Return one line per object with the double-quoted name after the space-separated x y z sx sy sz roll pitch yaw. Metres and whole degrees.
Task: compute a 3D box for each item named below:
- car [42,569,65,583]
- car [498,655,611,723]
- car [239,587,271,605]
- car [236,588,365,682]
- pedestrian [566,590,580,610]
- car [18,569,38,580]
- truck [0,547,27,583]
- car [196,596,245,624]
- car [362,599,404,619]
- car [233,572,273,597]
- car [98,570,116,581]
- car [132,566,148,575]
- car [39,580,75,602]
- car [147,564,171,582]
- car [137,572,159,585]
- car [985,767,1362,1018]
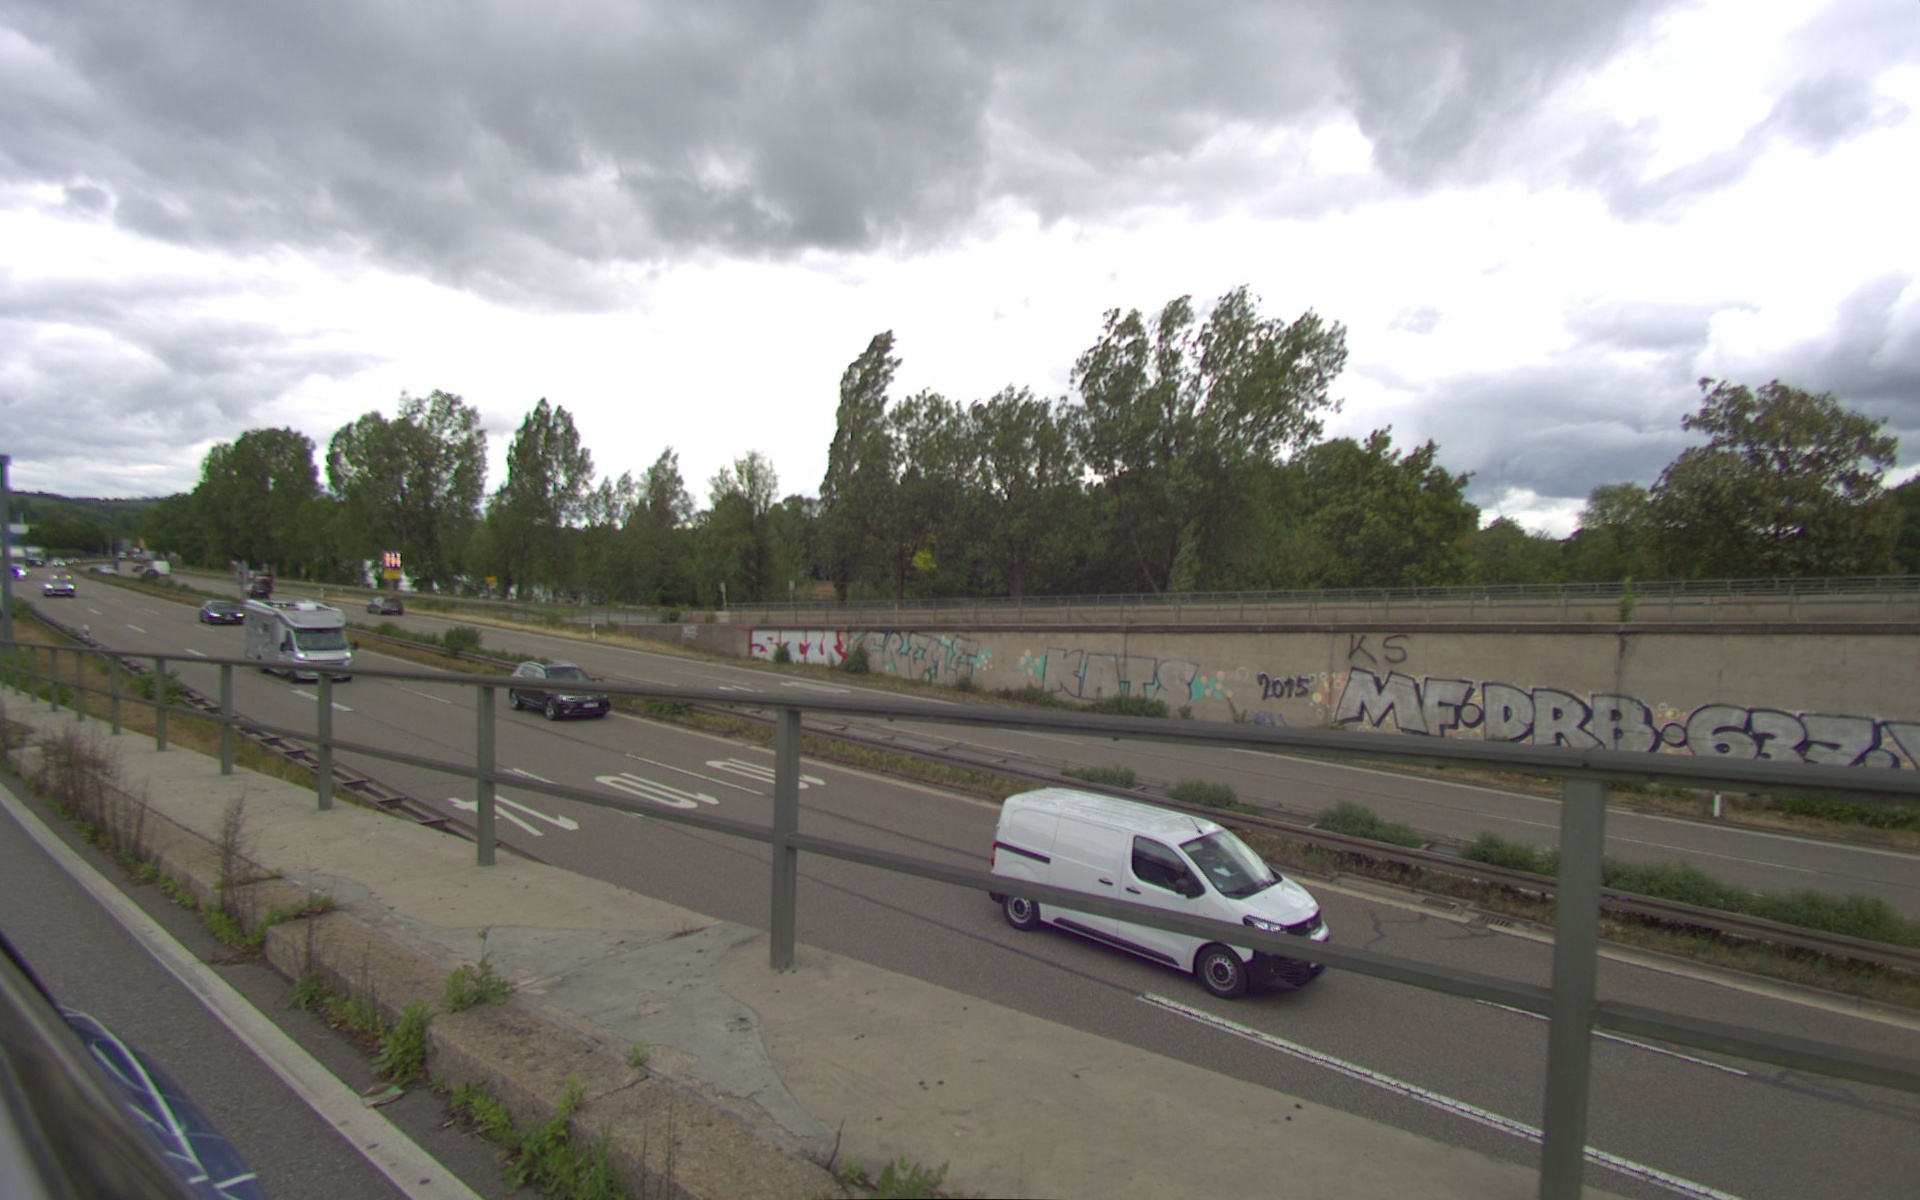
-110.499 -2.924 123.352 4.166 1.451 1.733 5 4 43 "car"
-13.488 2.879 33.560 4.280 1.726 1.820 3 2 43 "car"
-68.062 -0.389 97.704 3.858 1.512 1.646 4 1 42 "car"
-26.883 1.341 41.093 7.659 3.264 2.336 3 -1 42 "car"
-35.542 -0.015 92.938 1.078 1.717 0.821 3 3 42 "pedestrian"
-135.991 -3.733 147.627 4.278 1.429 1.894 4 3 43 "car"
-117.995 -4.393 125.358 6.696 4.283 2.723 3 1 41 "truck"
-47.695 0.634 65.240 4.219 1.581 1.731 3 2 42 "car"
-46.421 0.692 81.400 4.109 1.386 1.693 3 1 41 "car"
-78.411 -1.784 112.242 6.112 2.566 2.221 3 2 41 "car"
-140.004 -4.058 166.043 3.931 1.662 1.739 4 3 41 "car"
-160.889 -5.844 198.500 3.931 1.662 1.878 3 3 42 "car"
-77.830 -0.782 87.222 4.278 1.813 1.821 -1 0 42 "car"
-133.248 -4.510 168.291 5.360 2.800 2.186 4 1 42 "car"
-120.703 -3.188 150.489 4.333 1.662 1.878 3 1 42 "car"
2.841 3.859 14.353 4.897 1.949 1.928 4 3 43 "car"
